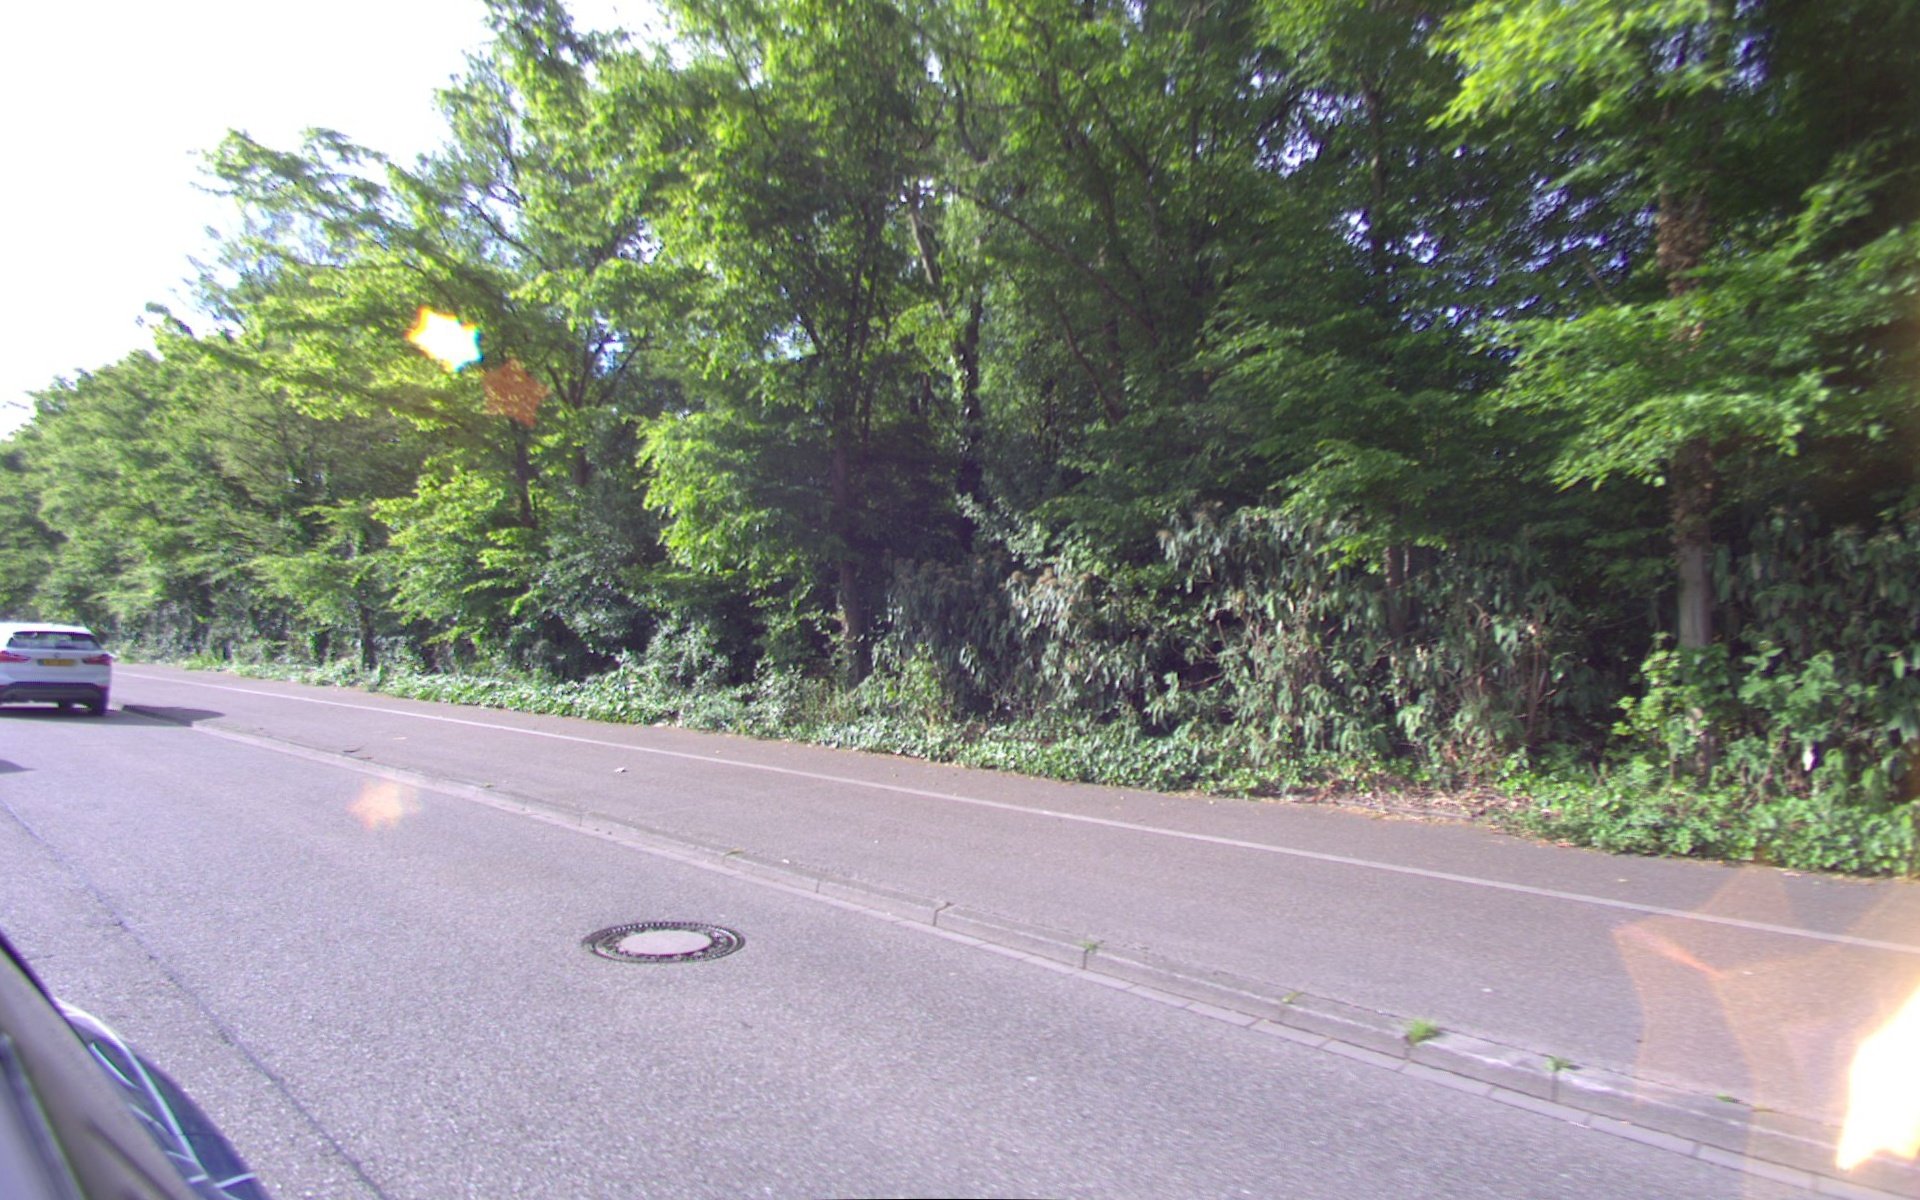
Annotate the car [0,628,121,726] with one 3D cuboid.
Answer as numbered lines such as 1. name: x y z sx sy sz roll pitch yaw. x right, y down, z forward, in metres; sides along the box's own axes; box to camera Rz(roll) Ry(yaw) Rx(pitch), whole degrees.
1. car: -17.094 1.339 18.559 4.097 1.597 1.784 -1 -4 39
